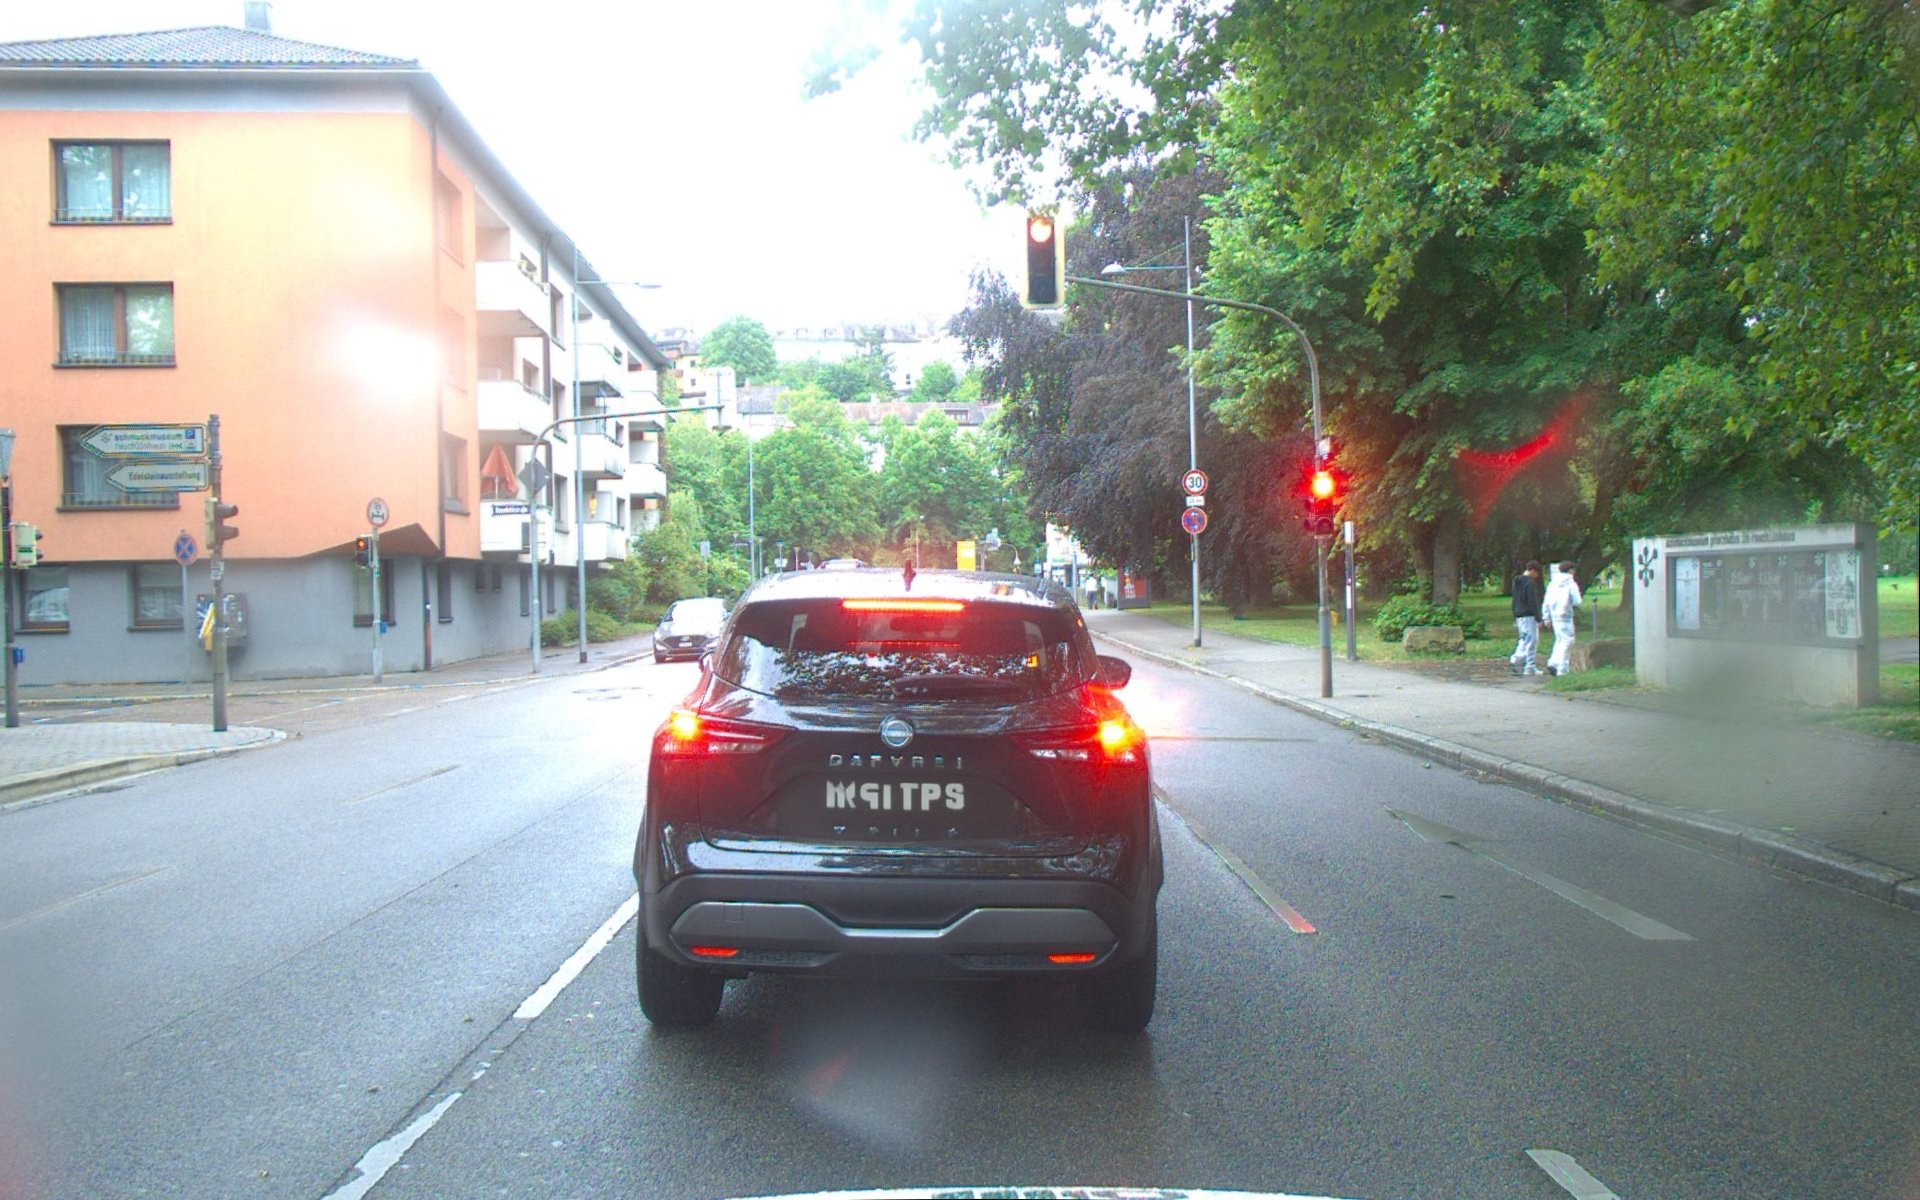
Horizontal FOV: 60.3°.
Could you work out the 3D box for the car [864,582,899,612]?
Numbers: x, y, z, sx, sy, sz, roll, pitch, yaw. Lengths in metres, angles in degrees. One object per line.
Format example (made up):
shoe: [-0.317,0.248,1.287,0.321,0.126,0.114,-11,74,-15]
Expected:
car: [-3.953,-0.156,83.831,1.591,1.439,3.454,-2,0,0]

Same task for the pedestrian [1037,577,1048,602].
pedestrian: [5.536,-0.709,111.122,0.685,1.680,0.628,1,-1,0]

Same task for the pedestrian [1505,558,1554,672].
pedestrian: [8.918,0.229,25.891,0.475,1.751,0.559,-2,0,-7]

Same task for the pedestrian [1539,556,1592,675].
pedestrian: [9.084,0.227,24.837,0.493,1.751,0.559,-2,0,-7]

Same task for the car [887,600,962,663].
car: [-0.901,0.745,40.976,1.772,1.442,4.029,0,0,-2]

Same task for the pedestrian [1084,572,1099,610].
pedestrian: [6.396,-0.422,80.505,0.606,1.810,0.778,-2,0,-1]

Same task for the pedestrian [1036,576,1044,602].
pedestrian: [5.303,-0.734,109.942,0.504,1.684,0.550,1,-1,-1]

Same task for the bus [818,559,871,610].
bus: [-7.373,-0.978,106.762,2.710,3.026,11.779,-1,0,-1]

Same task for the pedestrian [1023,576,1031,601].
pedestrian: [4.492,-0.752,111.038,0.533,1.680,0.490,1,-1,0]

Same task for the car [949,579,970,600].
car: [-0.063,-0.879,136.531,1.714,1.662,3.634,-2,1,0]

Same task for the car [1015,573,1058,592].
car: [7.549,-1.702,163.544,3.916,1.713,1.995,-2,0,-11]

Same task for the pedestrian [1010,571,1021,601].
pedestrian: [4.101,-1.014,122.132,0.752,2.222,0.711,1,-1,2]

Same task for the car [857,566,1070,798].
car: [0.051,0.621,14.669,1.588,1.738,3.771,-2,0,1]

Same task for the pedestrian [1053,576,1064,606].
pedestrian: [6.019,-0.528,100.997,0.606,1.810,0.550,-2,0,-1]

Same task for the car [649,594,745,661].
car: [-6.431,0.638,40.834,1.772,1.441,4.029,-3,1,-2]

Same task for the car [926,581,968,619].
car: [-0.506,-0.024,66.196,1.591,1.439,3.454,-2,0,0]

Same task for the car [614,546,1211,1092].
car: [-0.167,0.670,6.977,1.769,1.618,3.999,1,0,-1]
